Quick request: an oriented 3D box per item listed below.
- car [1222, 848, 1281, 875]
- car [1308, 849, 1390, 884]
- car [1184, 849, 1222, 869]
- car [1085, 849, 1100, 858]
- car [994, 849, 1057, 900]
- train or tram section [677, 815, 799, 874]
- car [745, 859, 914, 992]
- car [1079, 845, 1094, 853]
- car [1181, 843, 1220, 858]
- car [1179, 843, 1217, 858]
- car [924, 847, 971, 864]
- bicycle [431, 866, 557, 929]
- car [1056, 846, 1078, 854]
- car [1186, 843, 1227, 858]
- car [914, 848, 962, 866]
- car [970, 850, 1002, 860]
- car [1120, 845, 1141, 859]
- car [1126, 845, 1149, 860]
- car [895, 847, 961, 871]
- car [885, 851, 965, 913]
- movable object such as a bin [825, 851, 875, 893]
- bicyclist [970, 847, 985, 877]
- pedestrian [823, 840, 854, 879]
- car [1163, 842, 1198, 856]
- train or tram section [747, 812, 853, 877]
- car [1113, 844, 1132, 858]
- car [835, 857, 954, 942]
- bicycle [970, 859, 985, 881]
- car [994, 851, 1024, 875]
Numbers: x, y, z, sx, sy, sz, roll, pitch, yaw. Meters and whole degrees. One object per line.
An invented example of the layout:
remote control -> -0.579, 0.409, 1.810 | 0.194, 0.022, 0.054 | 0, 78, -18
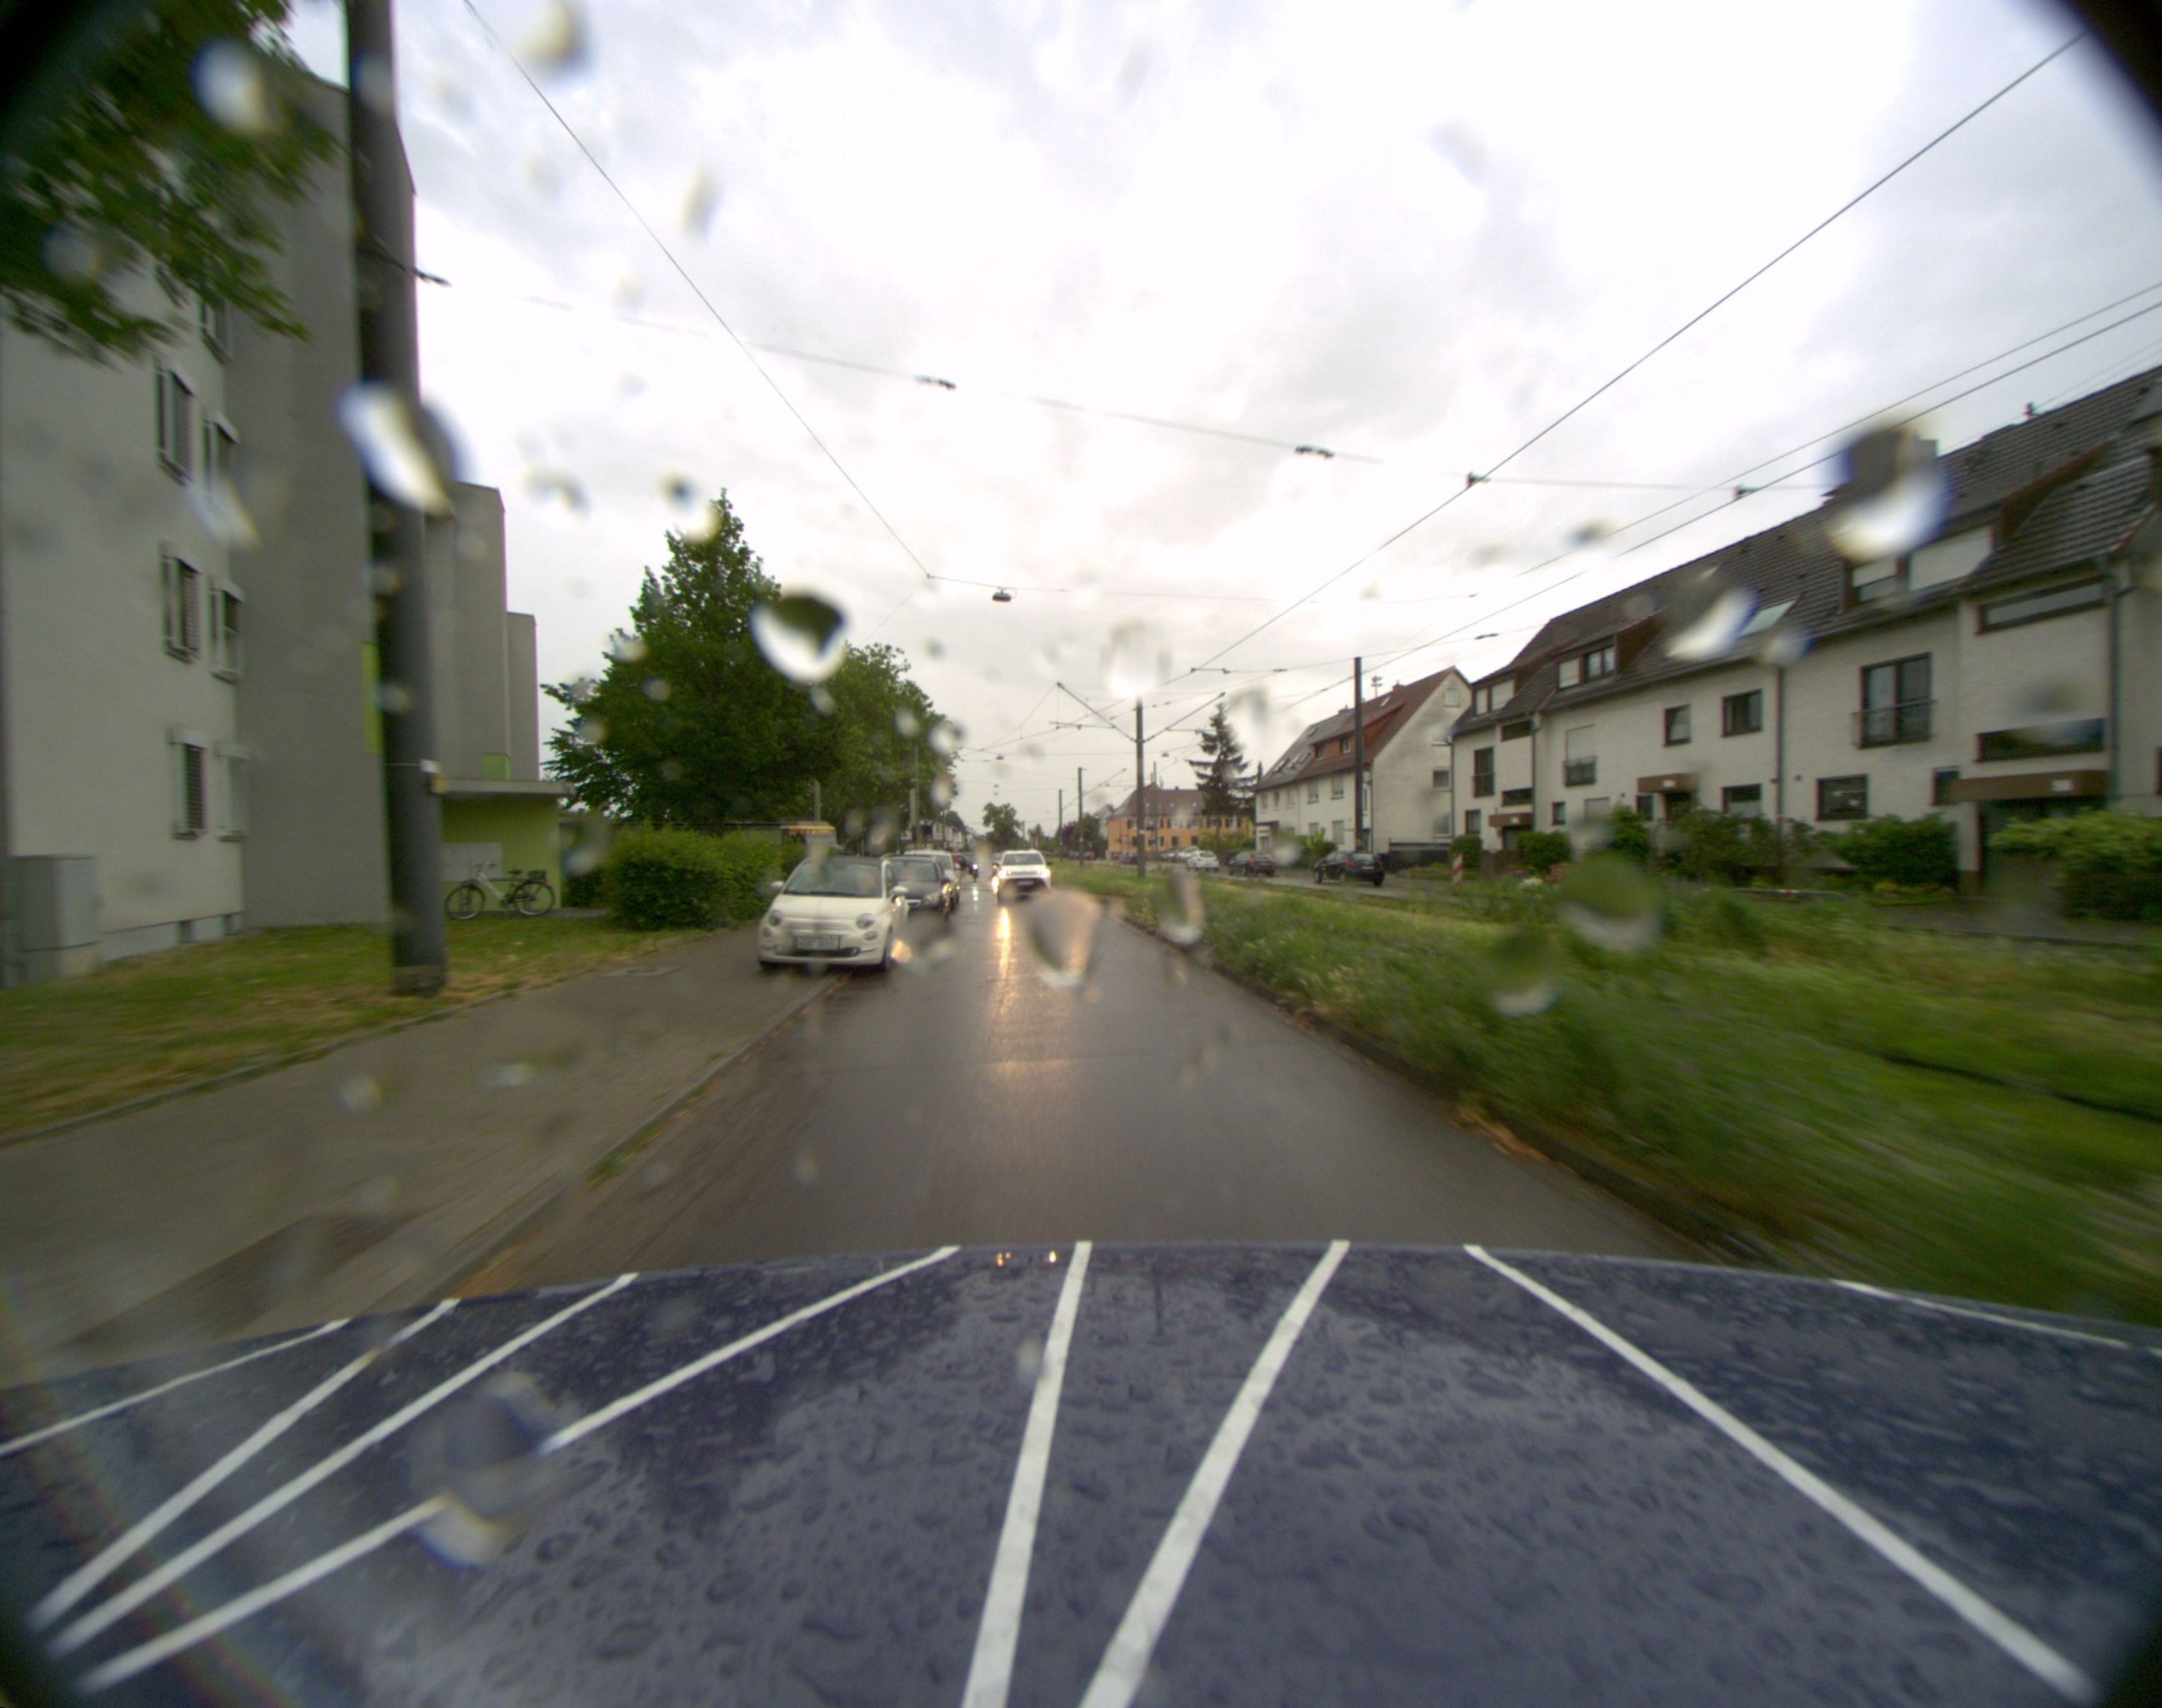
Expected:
car -> 10.026, 0.403, 45.087 | 1.892, 1.523, 4.753 | 0, 1, -7
car -> 11.376, 0.492, 32.554 | 1.778, 1.418, 3.935 | 0, 1, -6
car -> 8.982, 0.347, 56.214 | 1.716, 1.432, 3.997 | 0, 1, -7
car -> 1.830, -0.099, 121.329 | 1.886, 1.423, 4.074 | 0, 1, -7
car -> -1.926, 0.620, 25.359 | 1.854, 1.500, 4.117 | -2, 1, -7
train or tram section -> -21.579, -0.565, 47.378 | 10.321, 3.320, 2.763 | 0, 1, 40
car -> -3.450, 0.868, 11.127 | 1.563, 1.510, 3.997 | 0, 1, -7
car -> 0.895, -0.855, 129.982 | 2.097, 1.423, 4.074 | 0, 1, -7
car -> 13.275, -0.414, 84.607 | 3.998, 1.586, 1.912 | -2, 1, -4
car -> 13.404, -0.439, 87.265 | 3.996, 1.586, 1.913 | -2, 1, 2
car -> -11.727, 0.137, 66.895 | 3.713, 1.475, 1.615 | -1, 1, -31
bicycle -> -11.488, 0.825, 14.946 | 1.864, 1.135, 0.532 | -1, 1, -30
car -> -2.789, -0.808, 148.581 | 4.000, 1.638, 1.892 | 0, 1, -9
car -> 13.522, -0.381, 82.005 | 3.998, 1.456, 1.912 | -2, 1, -4
car -> -11.879, 0.211, 63.308 | 3.583, 1.451, 1.615 | -1, 1, -32
car -> -14.146, 0.093, 113.698 | 4.272, 1.423, 2.109 | -1, 1, 10
car -> 5.750, -0.243, 88.418 | 1.882, 1.521, 3.997 | 0, 1, -6
car -> 6.182, -0.153, 83.761 | 1.913, 1.581, 3.997 | 0, 1, -6
car -> -10.353, 0.324, 51.468 | 4.008, 1.518, 1.714 | -1, 1, -38
car -> -4.331, 0.706, 21.655 | 1.905, 1.566, 4.108 | 0, 1, -7
movable object such as a bin -> -8.217, 0.611, 27.017 | 1.155, 1.432, 1.472 | -1, 1, -45
bicyclist -> -5.176, 0.385, 38.150 | 0.711, 1.504, 0.714 | 0, 1, -6
pedestrian -> -11.106, 0.224, 34.863 | 1.016, 1.764, 0.866 | 0, 1, 25
car -> 11.837, -0.602, 90.619 | 3.995, 1.586, 1.914 | -1, 1, 7
train or tram section -> -15.777, -0.525, 42.453 | 6.381, 3.320, 2.763 | 1, 1, 40
car -> 5.270, -0.420, 97.313 | 1.999, 1.648, 3.998 | -2, 1, -4
car -> -3.671, 0.813, 15.669 | 1.905, 1.441, 4.181 | 0, 1, -7
bicycle -> -5.166, 0.808, 38.031 | 0.711, 1.031, 2.097 | 0, 1, -6
car -> -4.852, 0.579, 50.773 | 1.855, 1.500, 4.117 | 0, 1, -7
